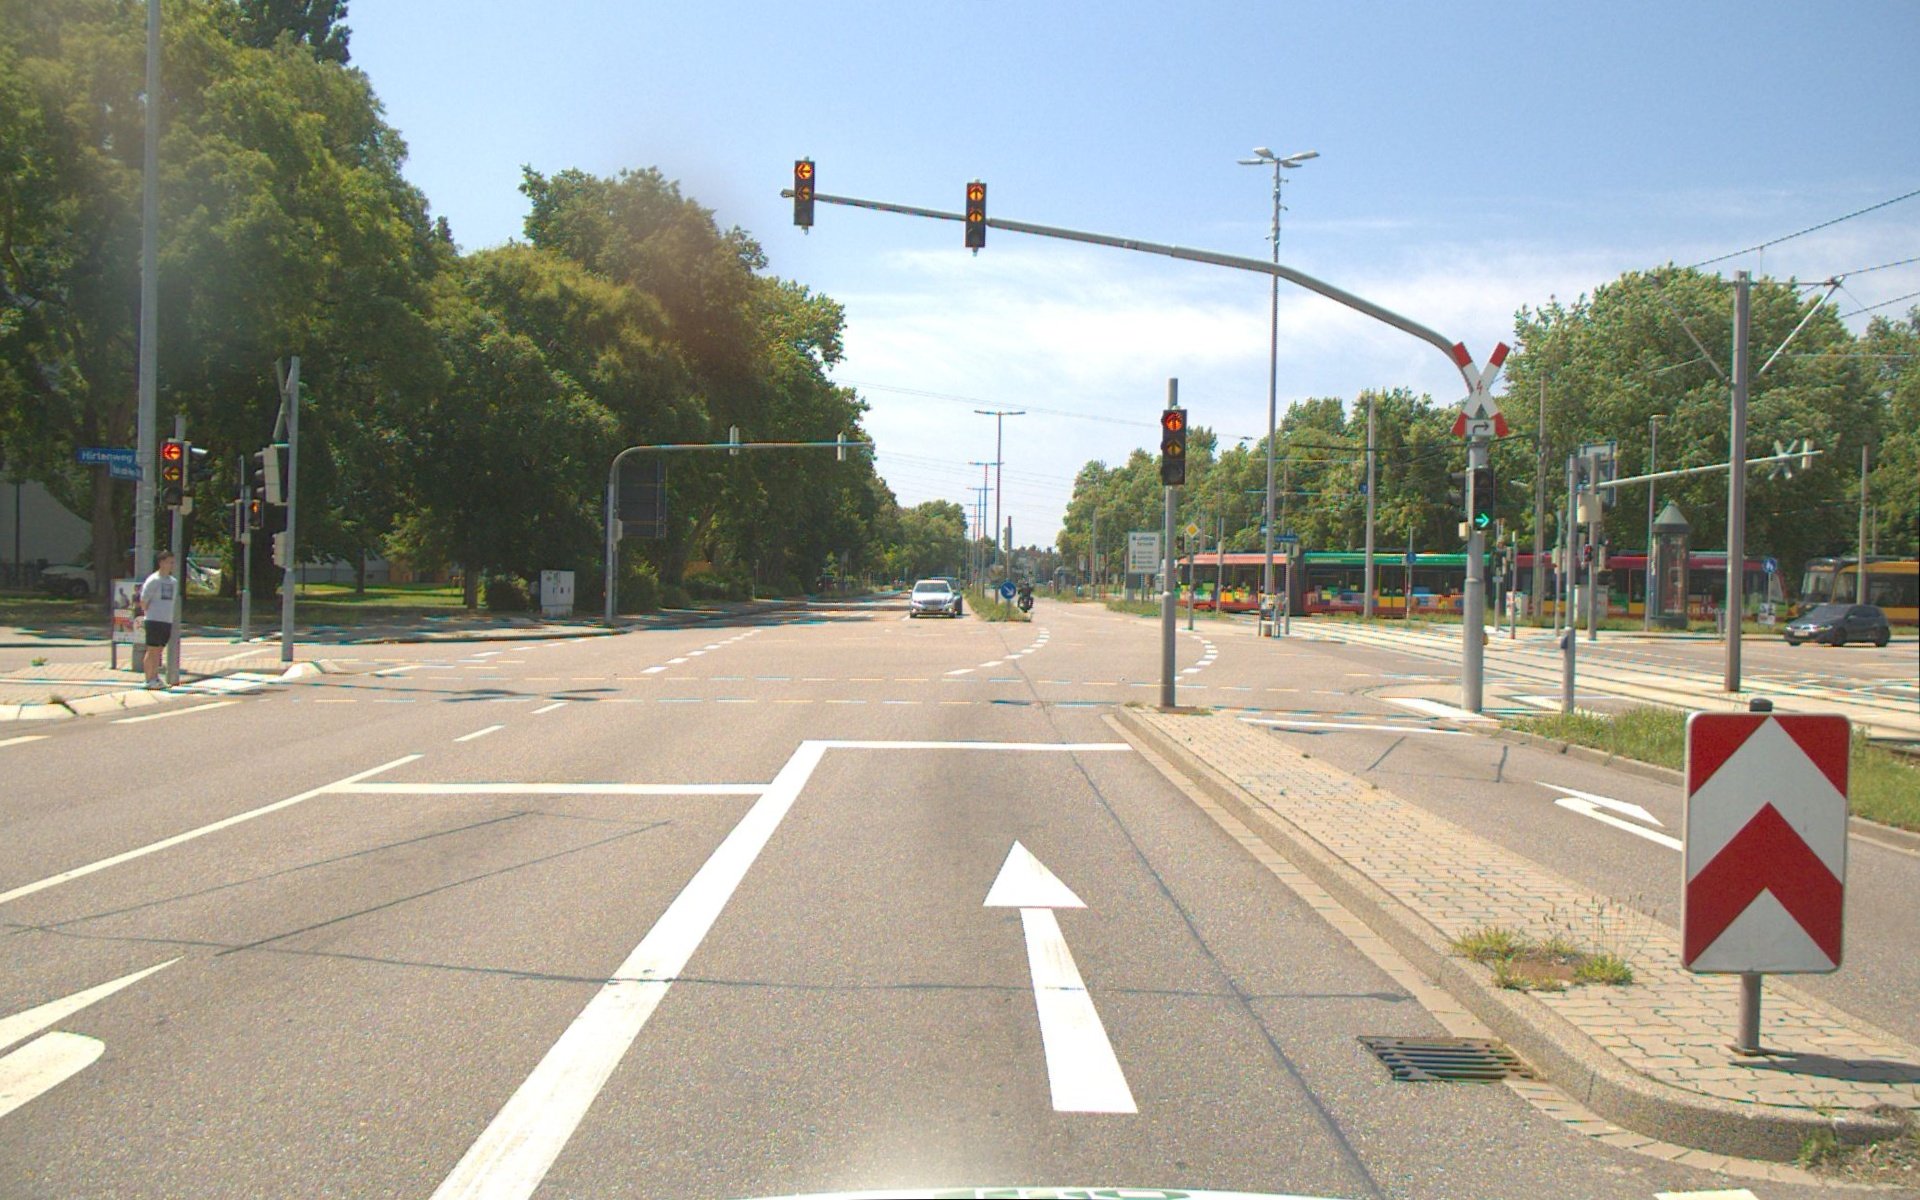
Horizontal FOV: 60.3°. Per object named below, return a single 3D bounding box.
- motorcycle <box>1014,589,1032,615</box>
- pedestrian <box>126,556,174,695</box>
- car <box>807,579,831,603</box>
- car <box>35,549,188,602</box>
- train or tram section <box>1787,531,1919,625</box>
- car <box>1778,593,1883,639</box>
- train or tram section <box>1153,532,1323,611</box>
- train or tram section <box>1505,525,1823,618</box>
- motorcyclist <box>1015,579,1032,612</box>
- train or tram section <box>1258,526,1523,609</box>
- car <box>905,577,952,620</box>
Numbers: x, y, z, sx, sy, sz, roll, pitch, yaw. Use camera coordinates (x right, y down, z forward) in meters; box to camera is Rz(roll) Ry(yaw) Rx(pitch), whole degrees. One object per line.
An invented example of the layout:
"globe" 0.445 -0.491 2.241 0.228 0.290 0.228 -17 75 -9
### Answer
"motorcycle" 3.217 0.085 84.336 0.829 1.277 2.449 2 1 1
"pedestrian" -10.198 0.315 20.832 0.374 1.716 0.485 1 1 -4
"car" -13.334 -0.843 156.731 1.954 2.048 3.998 4 0 -3
"car" -30.011 -0.851 58.625 1.758 1.799 4.525 1 1 40
"train or tram section" 46.494 -0.861 80.293 13.717 3.988 2.905 3 -2 -21
"car" 29.585 0.539 56.196 3.463 1.488 1.623 0 1 -32
"train or tram section" 15.532 -1.455 93.959 2.875 3.878 12.978 3 -2 -23
"train or tram section" 33.409 -1.376 79.231 13.701 3.988 2.925 1 -2 16
"motorcyclist" 3.230 -0.225 84.262 0.773 1.671 1.211 2 0 1
"train or tram section" 21.921 -1.580 85.110 13.206 3.878 2.908 0 -3 40
"car" -1.215 -0.080 66.013 1.748 1.657 3.865 1 1 0
